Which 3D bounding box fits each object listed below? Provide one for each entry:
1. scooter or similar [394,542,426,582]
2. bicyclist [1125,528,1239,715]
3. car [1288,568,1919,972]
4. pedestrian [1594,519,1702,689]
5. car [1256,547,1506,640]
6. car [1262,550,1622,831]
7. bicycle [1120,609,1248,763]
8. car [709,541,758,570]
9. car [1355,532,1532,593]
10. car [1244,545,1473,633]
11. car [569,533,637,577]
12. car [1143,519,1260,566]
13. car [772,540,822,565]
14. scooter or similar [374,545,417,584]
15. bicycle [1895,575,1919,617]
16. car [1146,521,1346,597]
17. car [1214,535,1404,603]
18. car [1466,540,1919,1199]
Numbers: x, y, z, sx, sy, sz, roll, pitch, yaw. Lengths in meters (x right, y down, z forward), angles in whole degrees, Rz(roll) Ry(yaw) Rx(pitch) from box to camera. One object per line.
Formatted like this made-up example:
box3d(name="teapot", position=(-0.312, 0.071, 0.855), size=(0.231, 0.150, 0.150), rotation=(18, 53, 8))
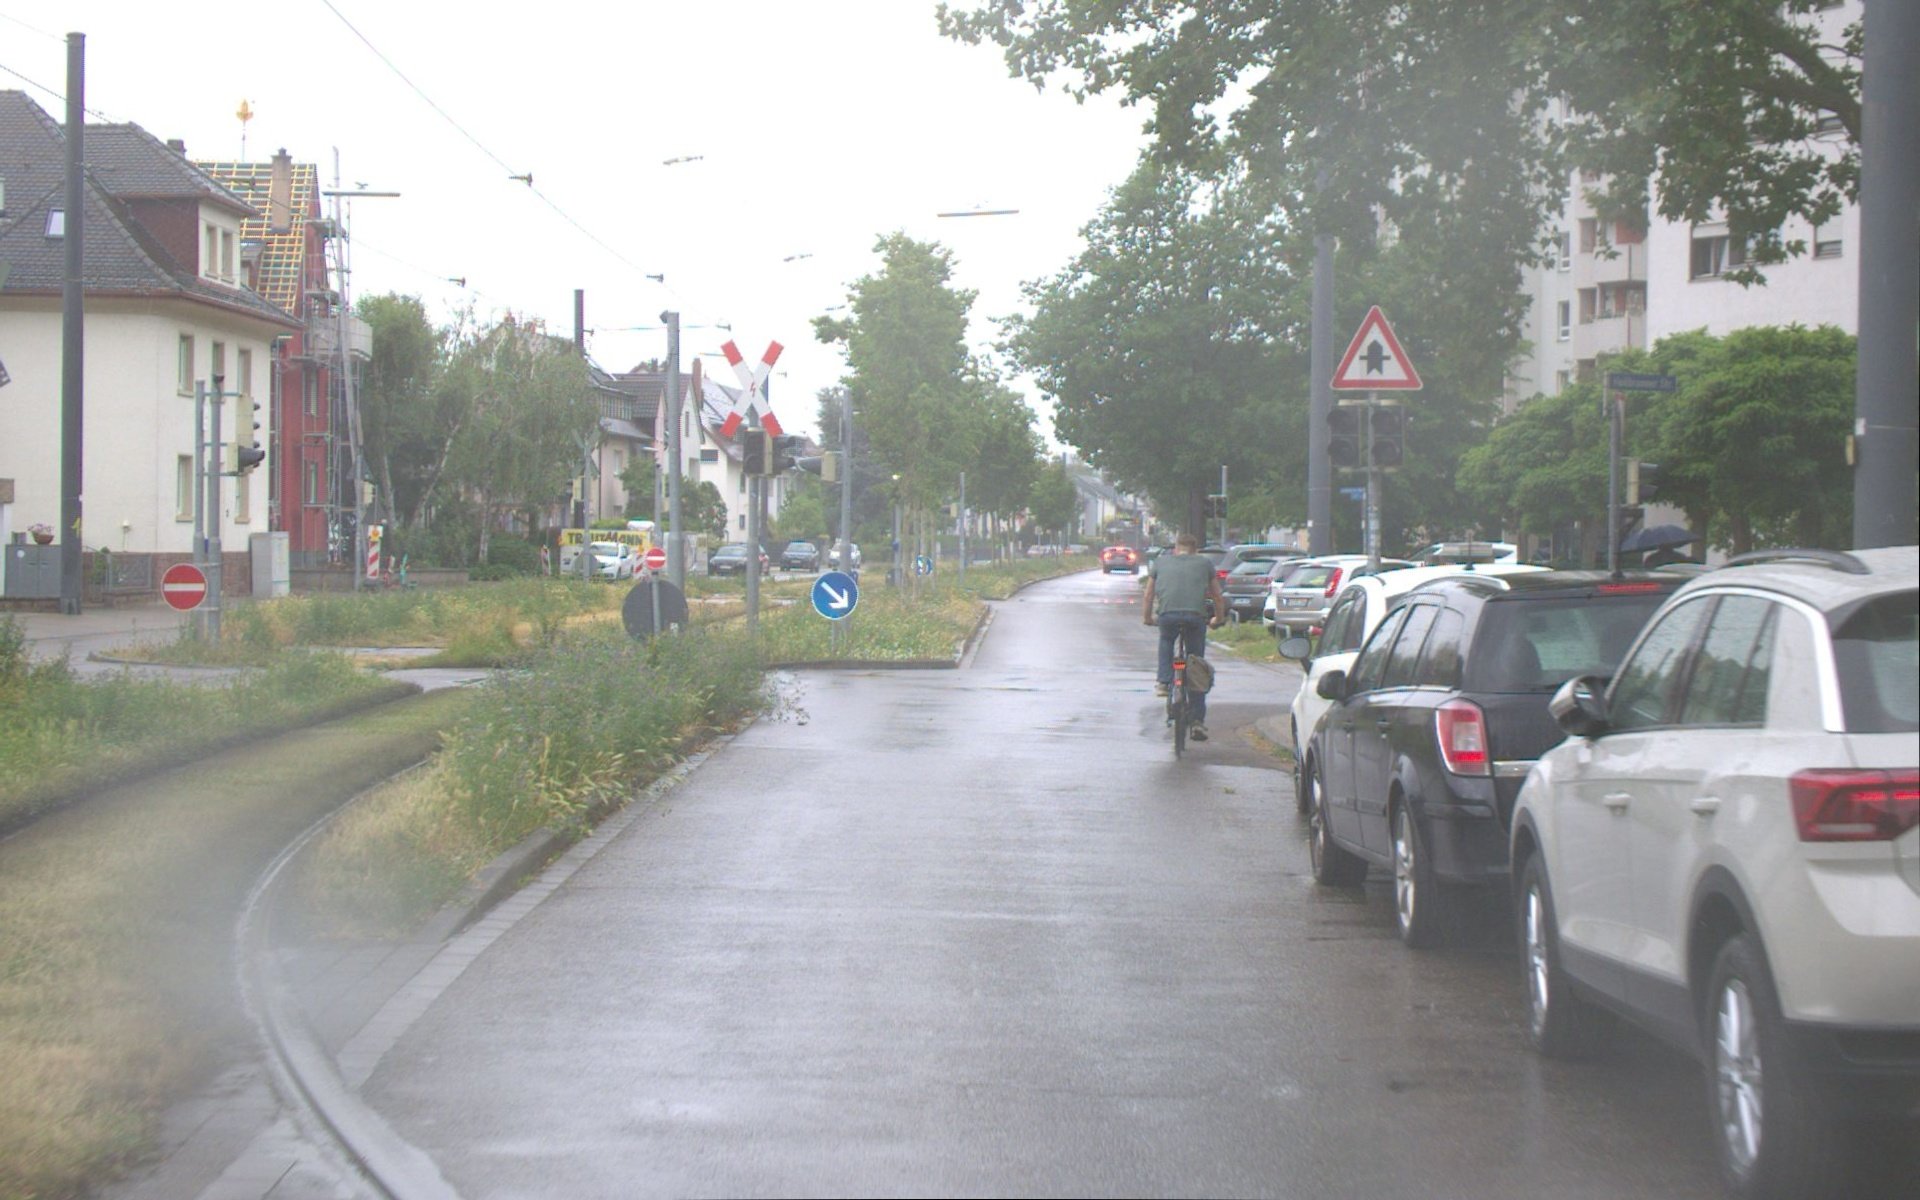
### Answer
box3d(name="scooter or similar", position=(-16.243, -1.114, 101.452), size=(0.394, 1.176, 1.282), rotation=(1, 1, 17))
box3d(name="bicyclist", position=(1.716, 0.153, 26.743), size=(0.809, 1.428, 1.060), rotation=(0, 1, 0))
box3d(name="car", position=(2.601, 0.607, 14.730), size=(1.899, 1.444, 4.185), rotation=(0, 1, -1))
box3d(name="pedestrian", position=(7.503, 0.031, 37.474), size=(1.100, 1.807, 1.433), rotation=(1, 1, 12))
box3d(name="car", position=(7.168, -0.110, 58.391), size=(3.987, 1.503, 1.784), rotation=(-1, -1, -34))
box3d(name="car", position=(2.804, 0.466, 20.742), size=(1.558, 1.514, 4.000), rotation=(0, 1, -1))
box3d(name="bicycle", position=(1.719, 0.641, 26.767), size=(0.809, 1.093, 2.517), rotation=(0, 1, 0))
box3d(name="car", position=(-10.279, -2.039, 156.530), size=(1.663, 1.240, 4.071), rotation=(3, 1, 4))
box3d(name="car", position=(14.385, -1.114, 102.448), size=(4.801, 1.739, 2.001), rotation=(0, 1, -12))
box3d(name="car", position=(7.176, -0.202, 61.738), size=(3.988, 1.503, 1.705), rotation=(-1, -1, -37))
box3d(name="car", position=(-13.197, -1.685, 127.280), size=(1.710, 1.537, 4.421), rotation=(3, 1, 4))
box3d(name="car", position=(9.541, -2.279, 135.537), size=(4.134, 1.713, 2.000), rotation=(-3, 2, -28))
box3d(name="car", position=(-8.628, -2.532, 182.381), size=(1.897, 1.240, 4.686), rotation=(3, 1, 6))
box3d(name="scooter or similar", position=(-16.145, -1.012, 98.345), size=(0.441, 1.125, 1.280), rotation=(1, 1, 32))
box3d(name="bicycle", position=(20.059, -0.079, 71.117), size=(0.489, 0.845, 1.572), rotation=(0, 1, -24))
box3d(name="car", position=(6.396, -0.919, 76.653), size=(4.337, 1.645, 1.857), rotation=(-1, 2, -39))
box3d(name="car", position=(7.492, -0.677, 73.672), size=(3.988, 1.424, 1.734), rotation=(-1, 1, -39))
box3d(name="car", position=(2.662, 0.627, 9.265), size=(1.899, 1.569, 4.112), rotation=(0, 1, -1))
